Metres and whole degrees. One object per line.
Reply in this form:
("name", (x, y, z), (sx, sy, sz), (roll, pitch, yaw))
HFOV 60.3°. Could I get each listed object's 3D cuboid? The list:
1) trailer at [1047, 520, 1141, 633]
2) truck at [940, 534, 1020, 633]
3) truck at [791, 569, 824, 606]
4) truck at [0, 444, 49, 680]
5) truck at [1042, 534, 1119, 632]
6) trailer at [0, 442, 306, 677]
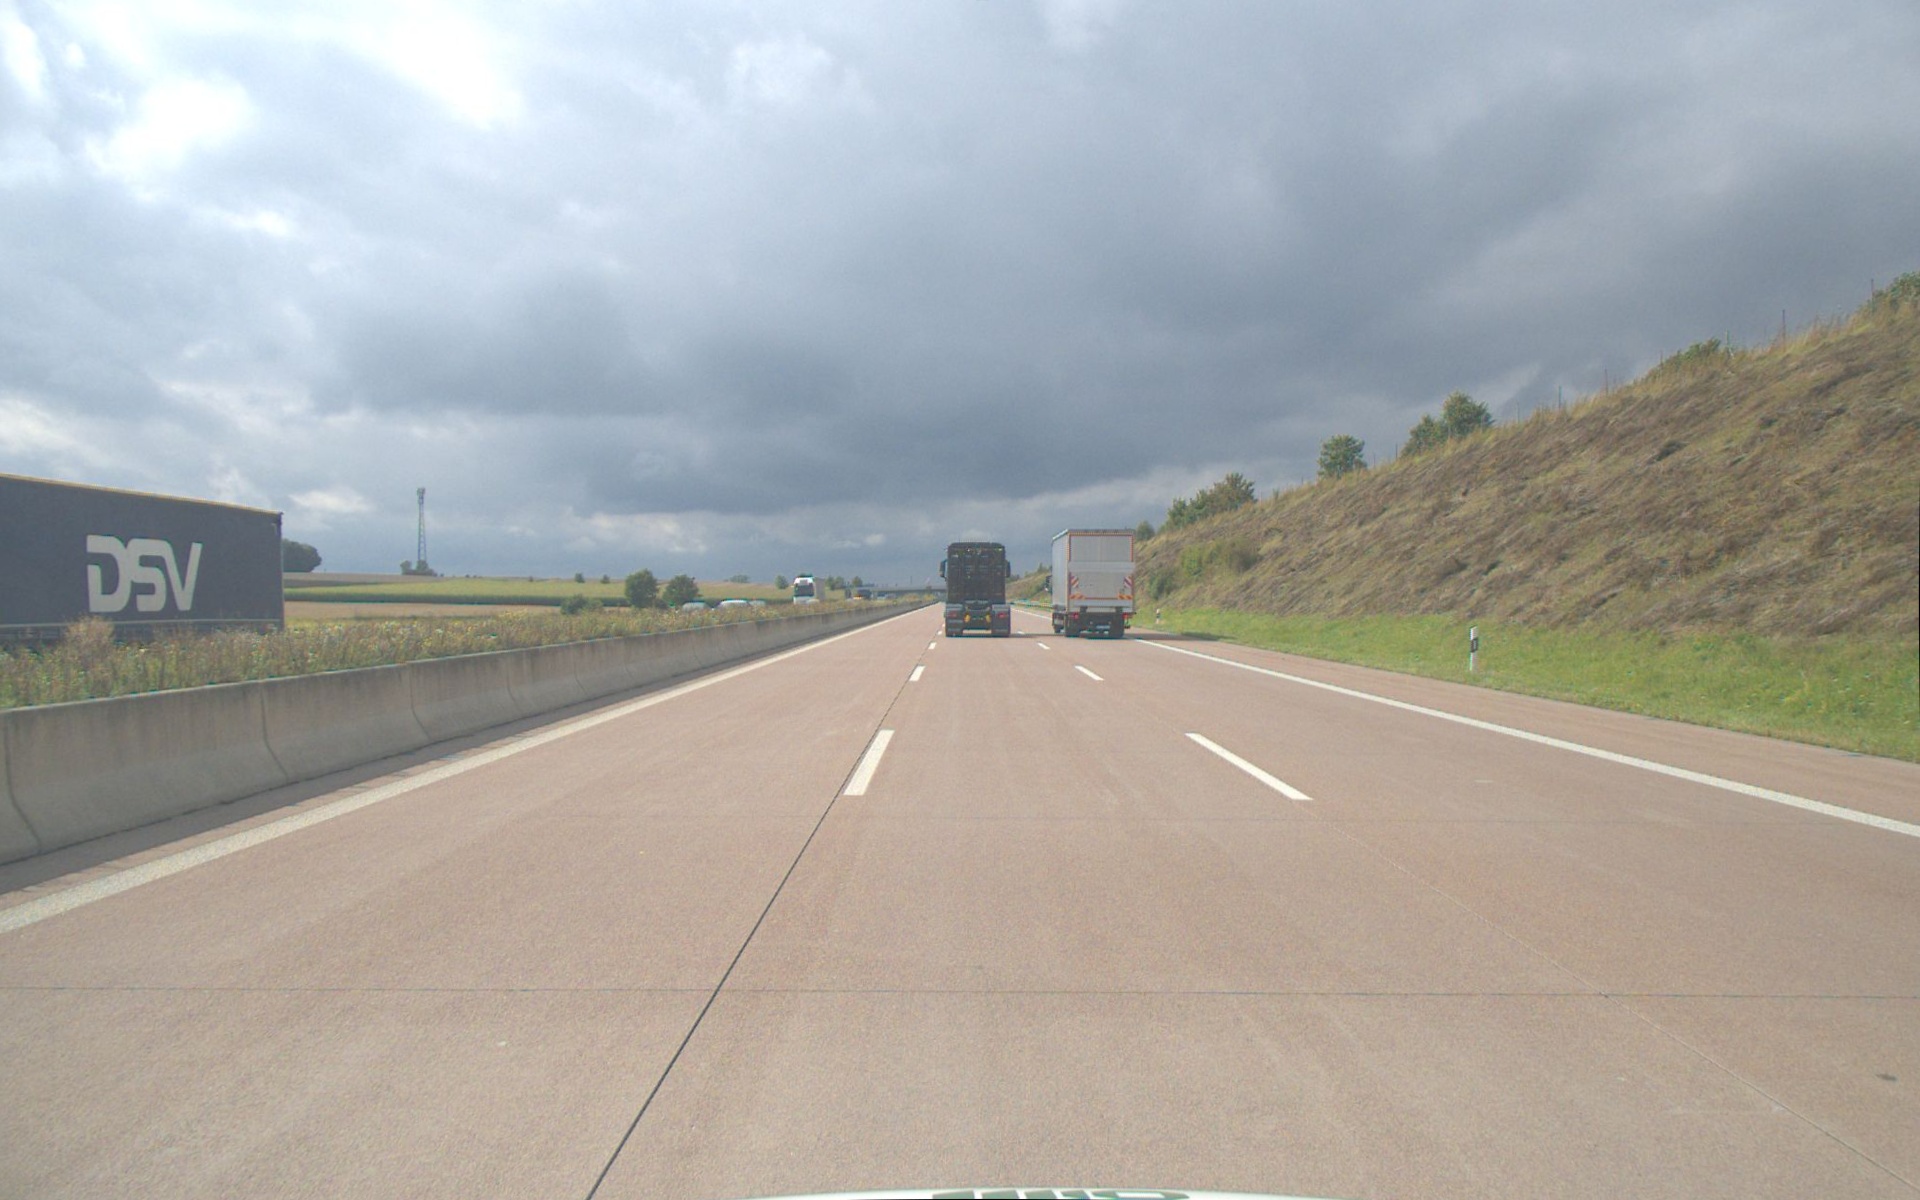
("trailer", (5.100, -0.847, 64.547), (2.692, 4.082, 8.667), (0, 0, -2))
("truck", (0.682, -0.601, 64.910), (2.790, 3.612, 8.316), (0, 0, -2))
("truck", (-17.750, -1.462, 192.773), (3.140, 4.170, 6.127), (1, 0, 1))
("truck", (-17.723, -0.631, 27.034), (2.714, 4.028, 5.289), (-1, 0, -1))
("truck", (4.975, -0.678, 68.921), (2.693, 3.960, 4.544), (0, 0, -2))
("trailer", (-17.818, -0.706, 34.613), (2.714, 4.028, 14.329), (-1, 0, -1))
